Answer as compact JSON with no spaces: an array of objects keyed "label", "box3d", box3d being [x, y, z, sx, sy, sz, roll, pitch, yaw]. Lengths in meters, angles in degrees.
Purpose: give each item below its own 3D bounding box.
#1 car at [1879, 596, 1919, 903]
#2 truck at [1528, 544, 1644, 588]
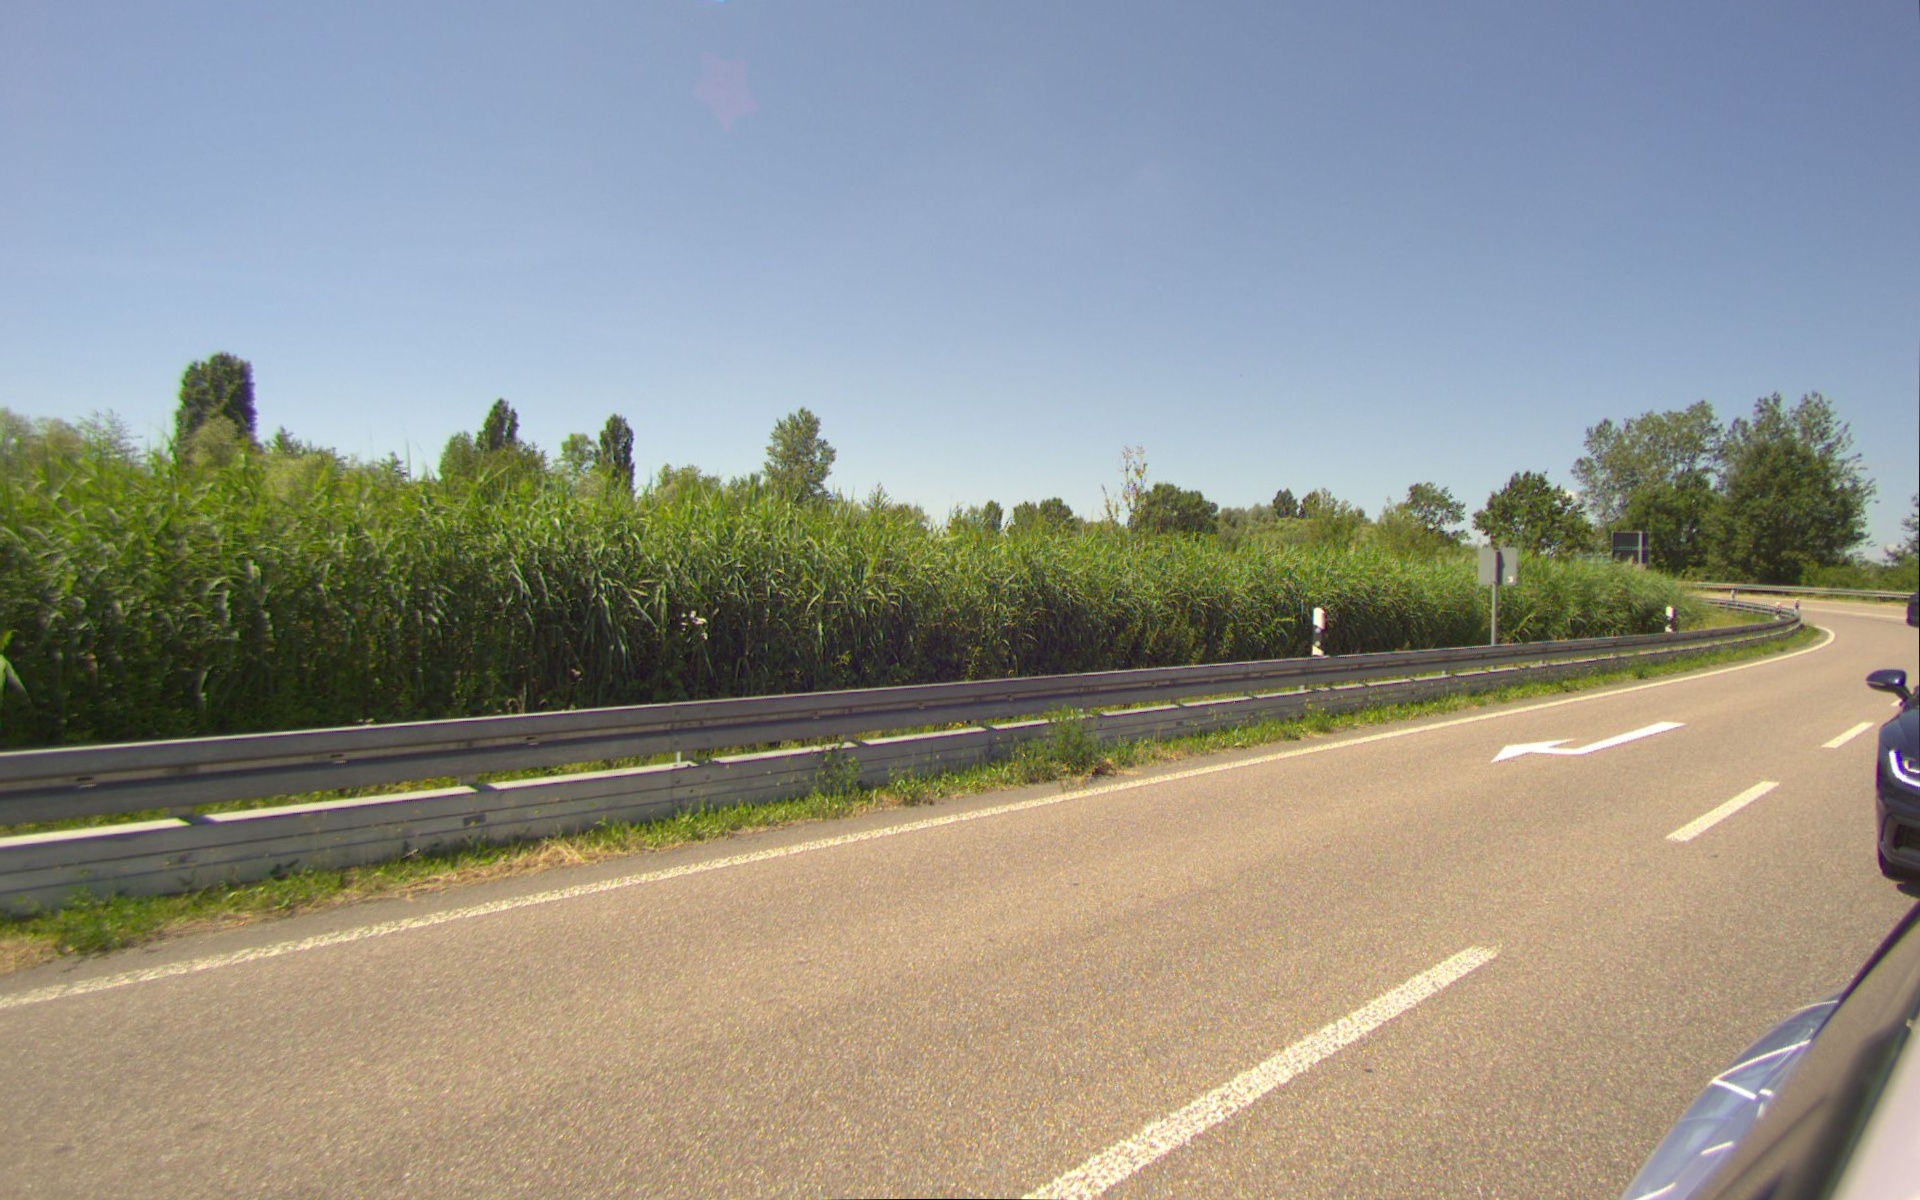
[{"label":"car","box3d":[6.457,0.692,5.491,3.931,1.427,1.759,-1,1,-41]},{"label":"truck","box3d":[46.904,-2.468,76.272,2.526,3.108,9.089,0,1,-5]}]
